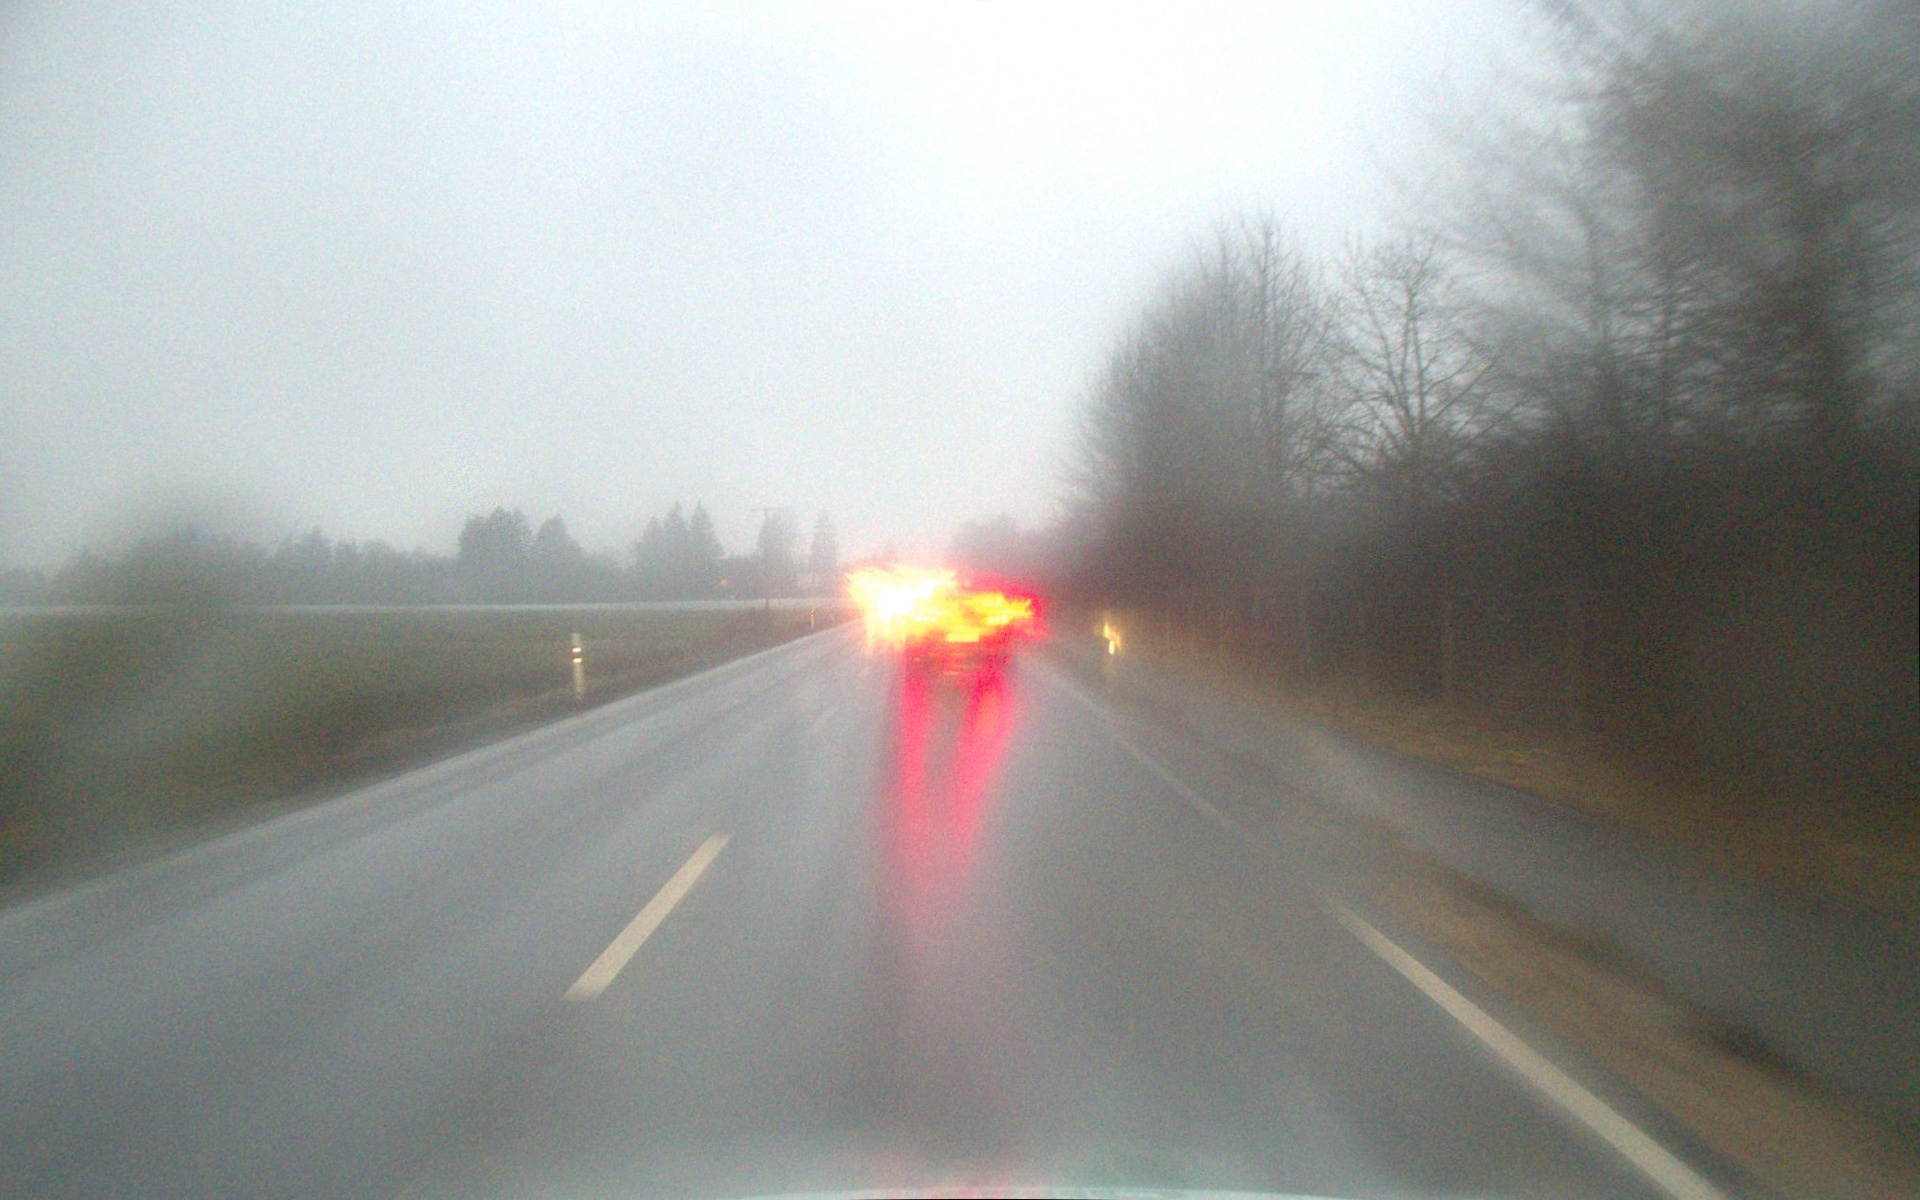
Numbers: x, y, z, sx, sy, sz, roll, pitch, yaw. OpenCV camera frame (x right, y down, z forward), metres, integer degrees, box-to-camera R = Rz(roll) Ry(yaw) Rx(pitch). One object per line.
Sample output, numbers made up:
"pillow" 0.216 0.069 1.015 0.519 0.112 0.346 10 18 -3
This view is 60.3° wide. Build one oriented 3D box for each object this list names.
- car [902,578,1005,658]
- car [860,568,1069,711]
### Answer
"car" -0.186 0.446 47.386 2.699 2.071 6.590 -1 0 0
"car" 0.045 0.561 28.144 3.100 2.071 6.851 -1 0 0
